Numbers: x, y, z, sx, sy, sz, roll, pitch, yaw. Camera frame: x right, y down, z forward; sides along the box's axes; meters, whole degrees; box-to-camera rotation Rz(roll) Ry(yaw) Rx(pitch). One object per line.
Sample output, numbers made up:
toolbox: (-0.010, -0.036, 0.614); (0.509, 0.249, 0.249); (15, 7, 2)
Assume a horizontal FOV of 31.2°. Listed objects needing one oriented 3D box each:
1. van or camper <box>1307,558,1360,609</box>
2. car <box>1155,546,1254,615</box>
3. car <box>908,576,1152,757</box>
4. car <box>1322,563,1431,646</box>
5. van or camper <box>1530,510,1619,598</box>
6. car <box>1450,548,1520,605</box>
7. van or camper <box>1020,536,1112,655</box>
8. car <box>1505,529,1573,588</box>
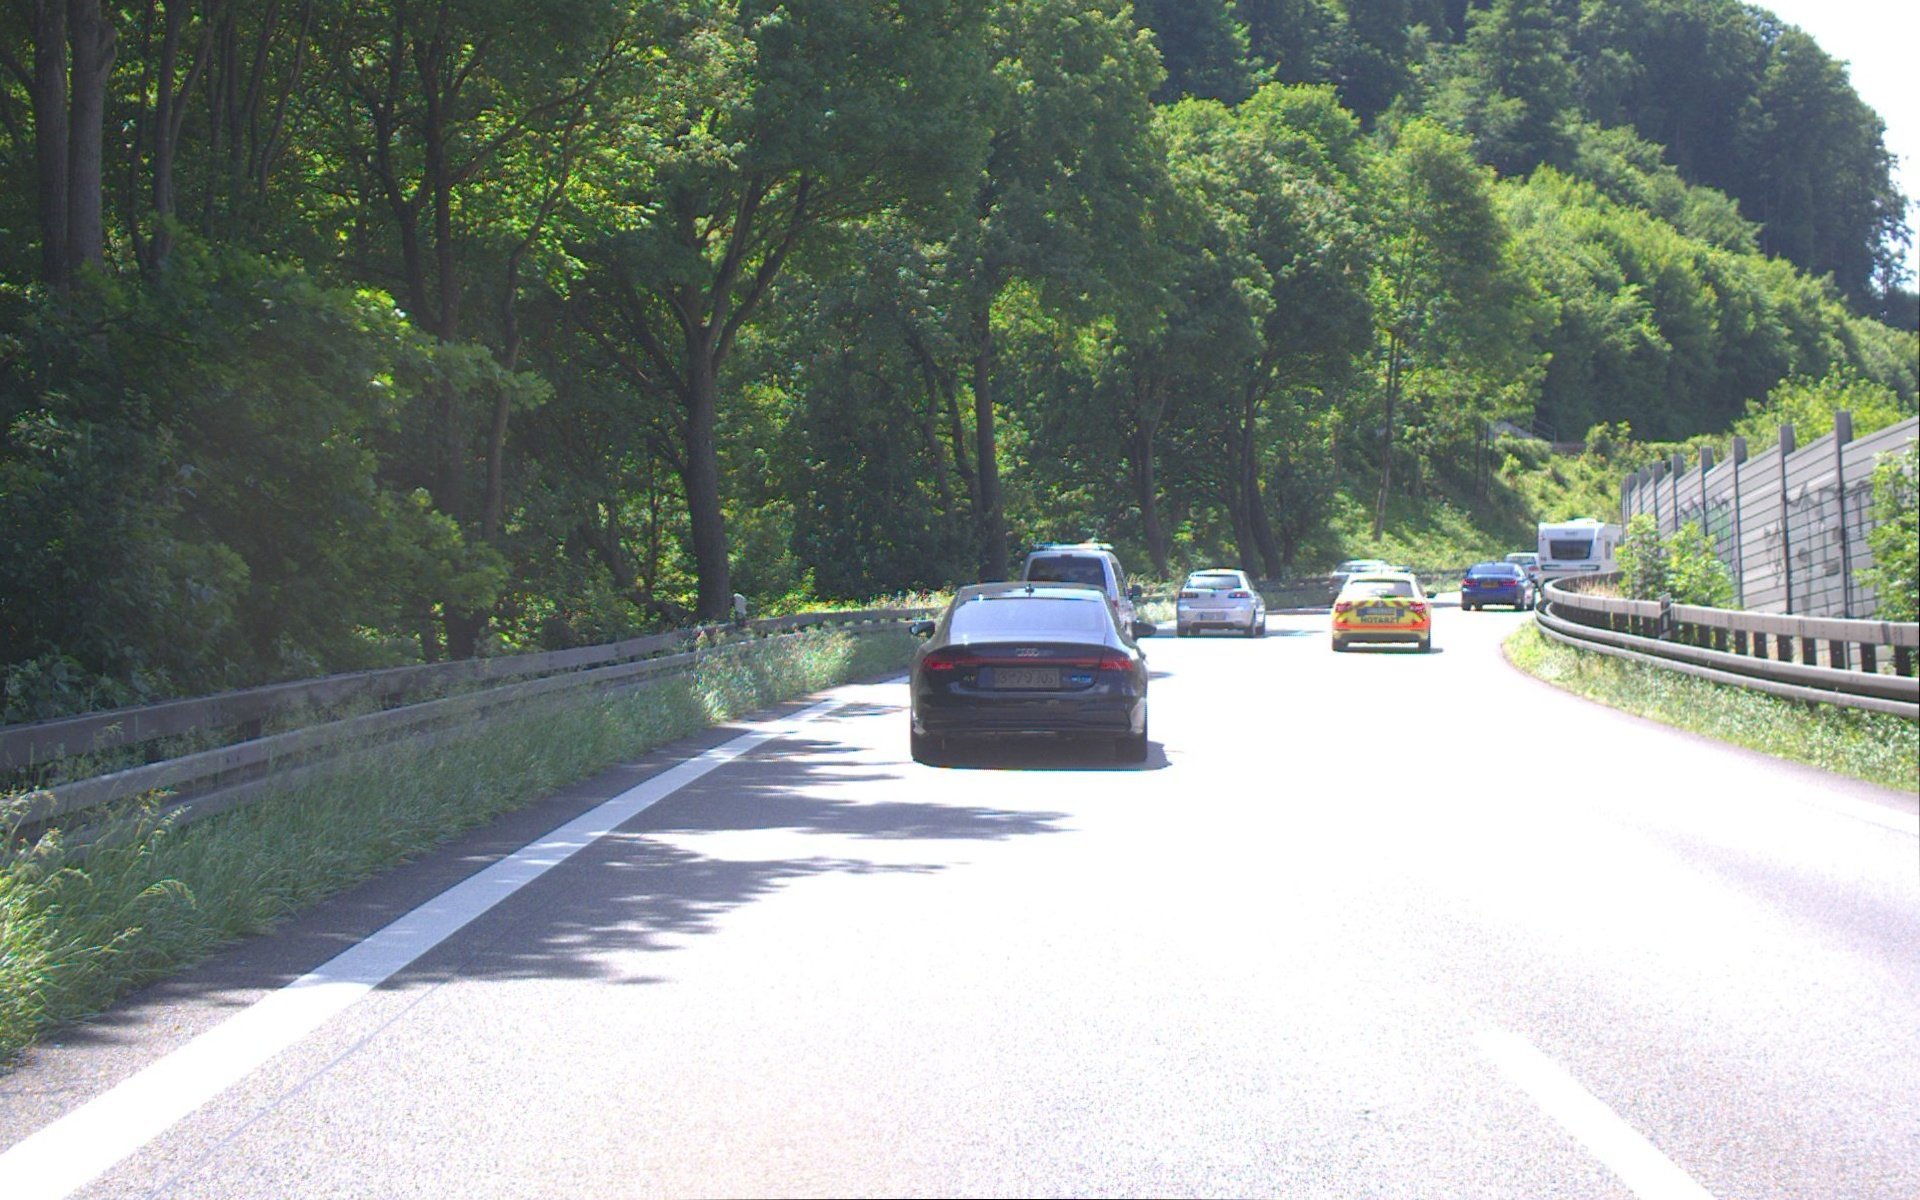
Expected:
van or camper: (11.578, -0.506, 106.454); (1.558, 1.529, 3.504); (-1, 0, 7)
car: (5.214, -0.407, 73.728); (1.747, 1.426, 4.000); (-1, 0, -1)
car: (0.549, 0.507, 28.156); (1.837, 1.345, 4.000); (1, 0, 1)
car: (7.704, 0.078, 63.880); (1.863, 1.483, 3.999); (-1, 0, 5)
van or camper: (21.906, -1.634, 122.284); (2.457, 2.908, 6.122); (-4, 0, 15)
car: (15.728, -0.698, 103.156); (1.773, 1.631, 3.999); (-1, 0, 5)
van or camper: (1.700, -0.071, 54.588); (1.392, 1.810, 4.000); (-1, 0, 2)
car: (22.463, -1.596, 133.361); (1.995, 2.007, 3.997); (-7, -2, 15)
